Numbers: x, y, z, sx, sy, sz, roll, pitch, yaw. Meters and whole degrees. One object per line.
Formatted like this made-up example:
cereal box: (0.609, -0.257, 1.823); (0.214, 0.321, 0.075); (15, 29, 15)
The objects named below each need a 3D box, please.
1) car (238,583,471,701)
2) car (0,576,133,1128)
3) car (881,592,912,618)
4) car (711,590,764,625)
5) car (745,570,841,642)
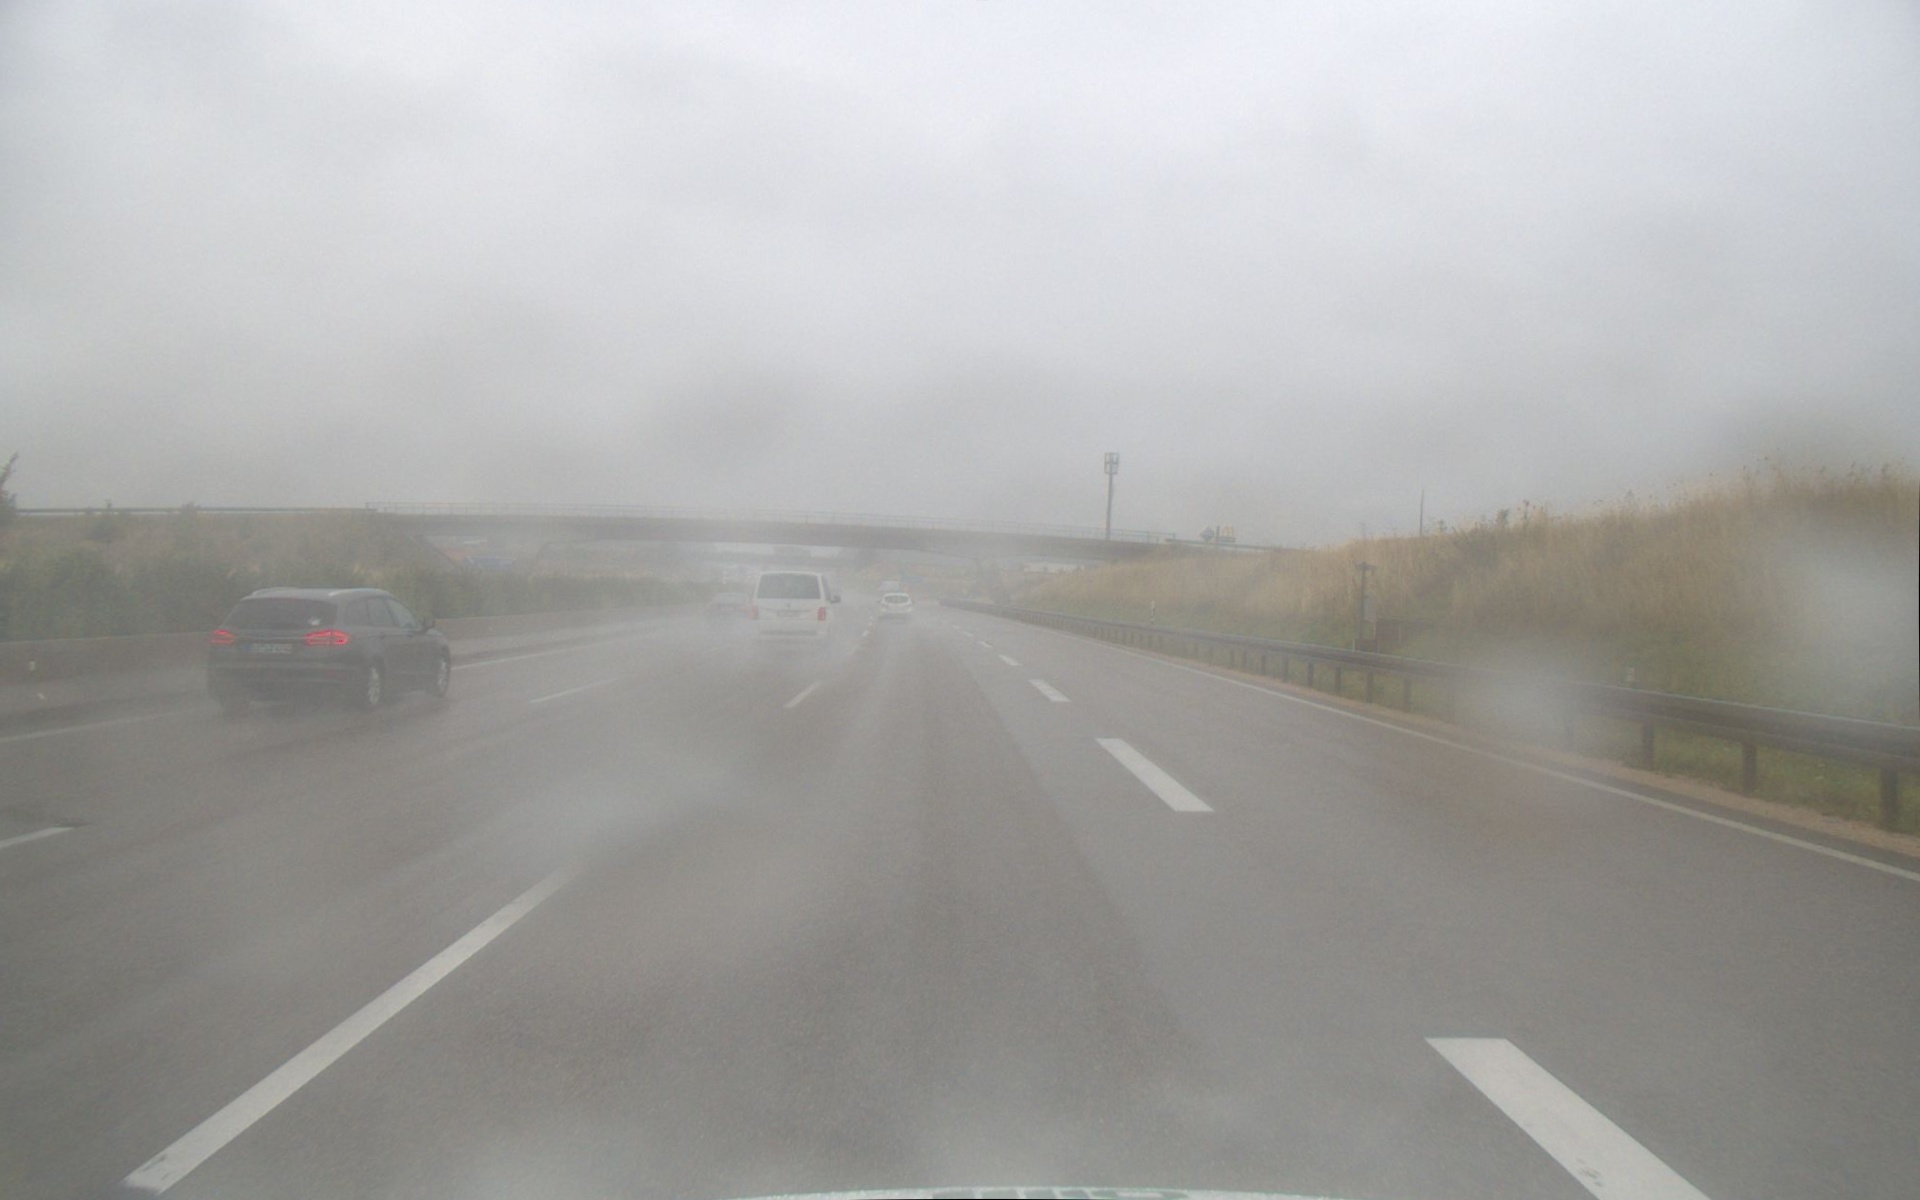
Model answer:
car: (-7.825, 0.492, 21.769); (1.580, 1.378, 4.000); (1, 0, 0)
car: (-3.572, 0.692, 2.911); (1.808, 1.539, 4.756); (1, 0, 0)
car: (-3.163, 0.254, 82.124); (1.438, 1.229, 2.989); (1, 0, -3)
car: (-8.471, 0.295, 63.100); (1.437, 1.279, 3.341); (1, 0, 2)
car: (-4.033, 0.140, 40.553); (1.858, 1.613, 4.000); (1, 0, 1)
